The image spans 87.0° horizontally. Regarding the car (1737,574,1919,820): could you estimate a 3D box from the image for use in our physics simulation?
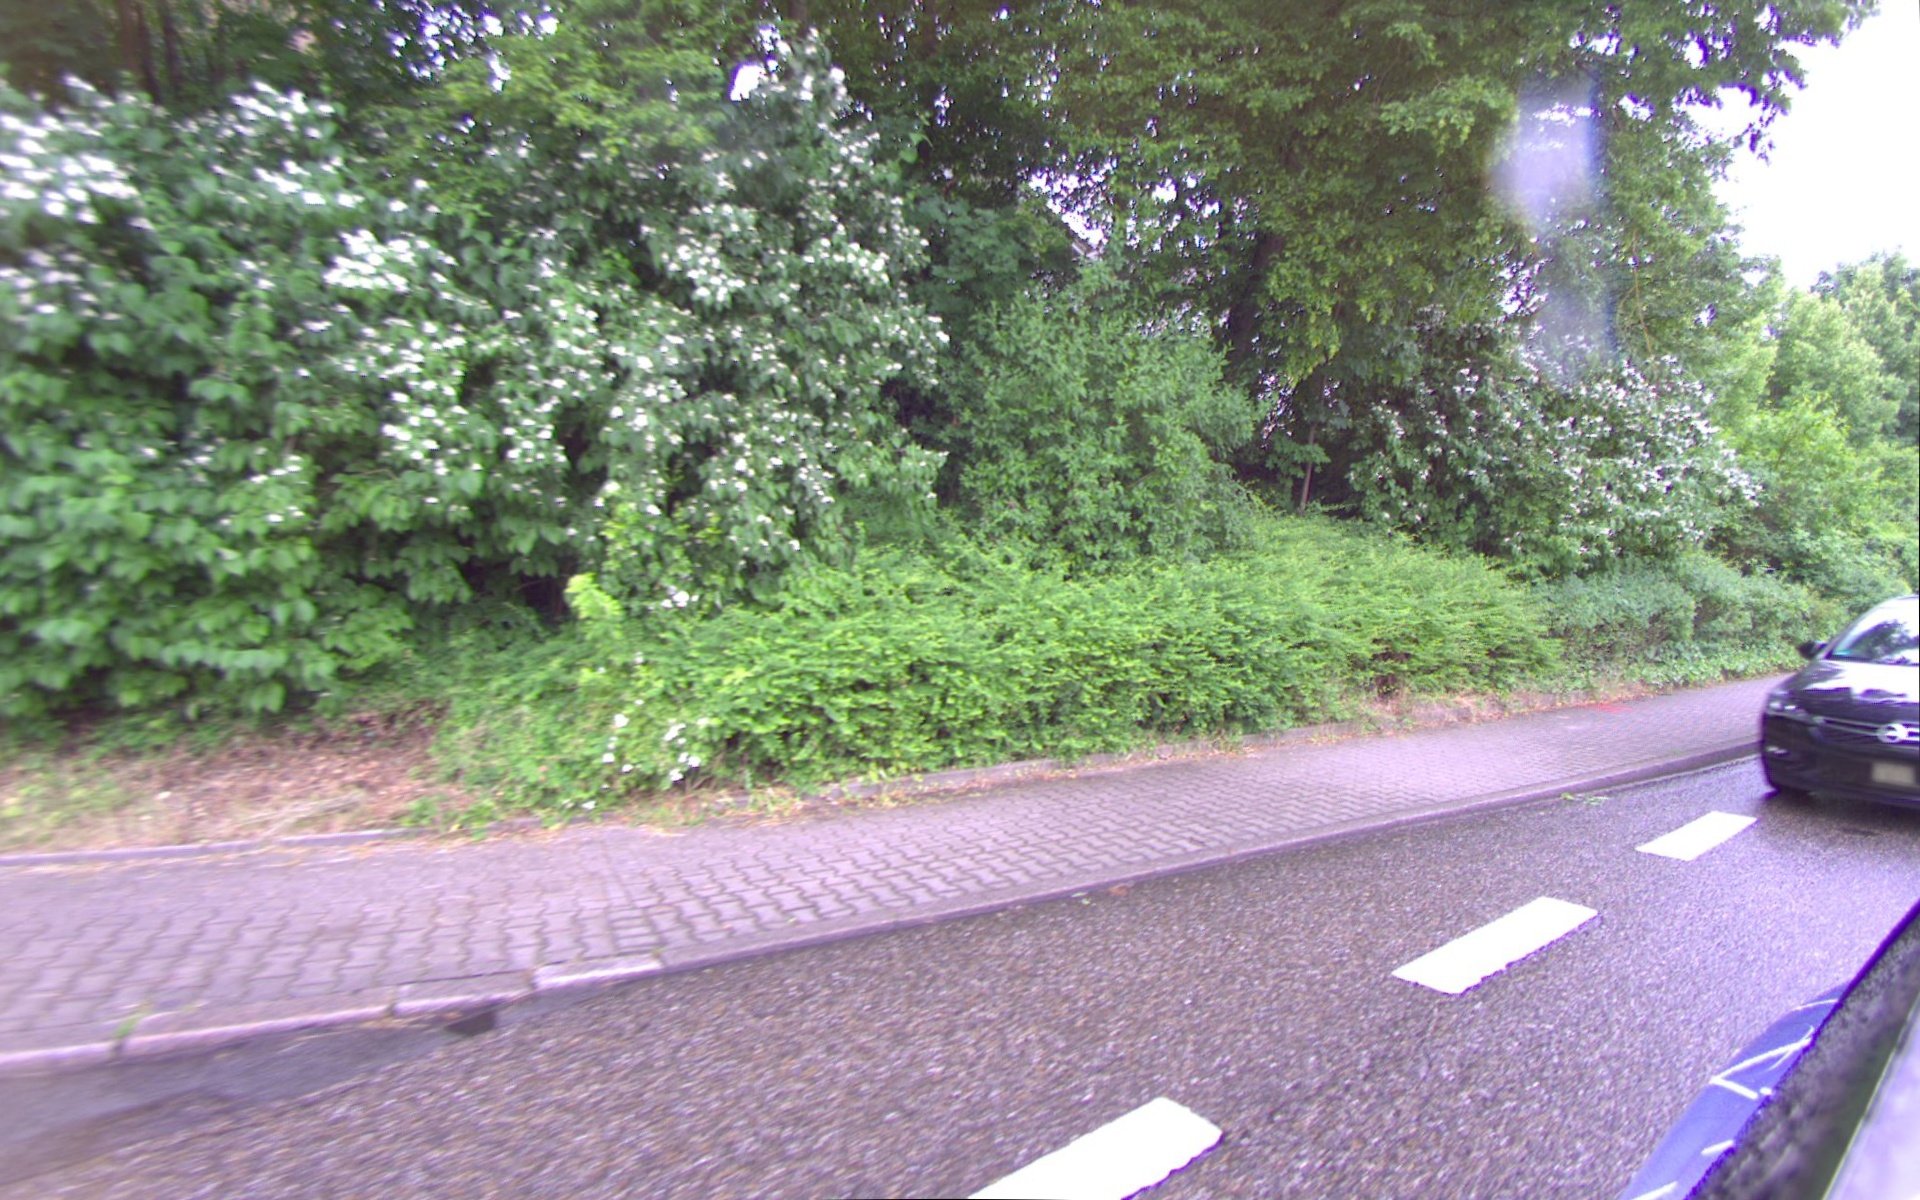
[{"bbox_3d":[7.588,0.594,7.327,4.082,1.460,1.820,-1,4,-33],"label":"car"}]
